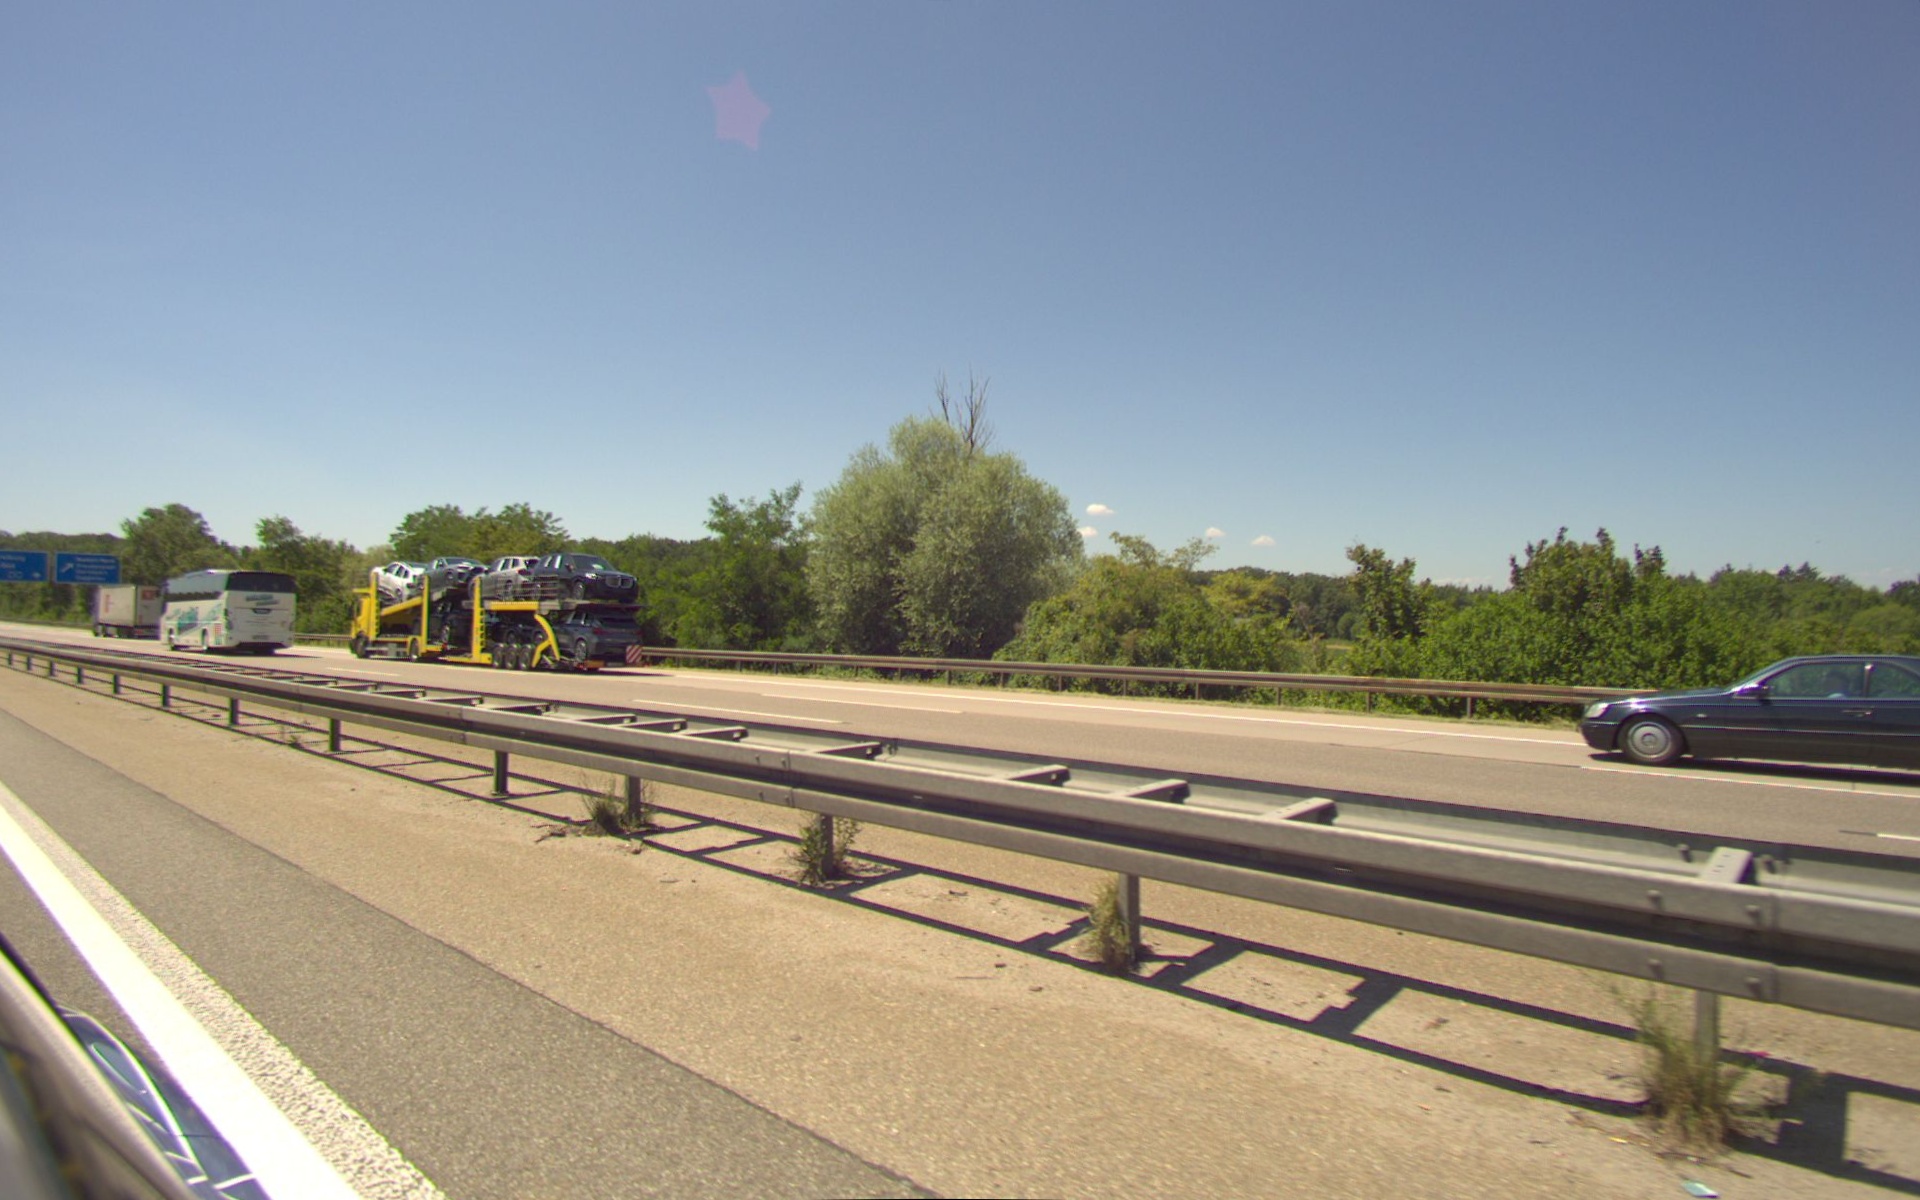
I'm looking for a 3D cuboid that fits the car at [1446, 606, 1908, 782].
[{"bbox_3d":[9.016,1.097,13.094,4.578,1.886,1.973,-1,-5,40],"label":"car"}]

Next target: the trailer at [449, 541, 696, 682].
[{"bbox_3d":[-12.992,0.452,33.210,10.530,3.998,2.891,-1,-3,41],"label":"trailer"}]

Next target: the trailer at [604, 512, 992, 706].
[{"bbox_3d":[-4.631,0.308,25.782,11.645,3.998,2.891,-1,-3,41],"label":"trailer"}]
